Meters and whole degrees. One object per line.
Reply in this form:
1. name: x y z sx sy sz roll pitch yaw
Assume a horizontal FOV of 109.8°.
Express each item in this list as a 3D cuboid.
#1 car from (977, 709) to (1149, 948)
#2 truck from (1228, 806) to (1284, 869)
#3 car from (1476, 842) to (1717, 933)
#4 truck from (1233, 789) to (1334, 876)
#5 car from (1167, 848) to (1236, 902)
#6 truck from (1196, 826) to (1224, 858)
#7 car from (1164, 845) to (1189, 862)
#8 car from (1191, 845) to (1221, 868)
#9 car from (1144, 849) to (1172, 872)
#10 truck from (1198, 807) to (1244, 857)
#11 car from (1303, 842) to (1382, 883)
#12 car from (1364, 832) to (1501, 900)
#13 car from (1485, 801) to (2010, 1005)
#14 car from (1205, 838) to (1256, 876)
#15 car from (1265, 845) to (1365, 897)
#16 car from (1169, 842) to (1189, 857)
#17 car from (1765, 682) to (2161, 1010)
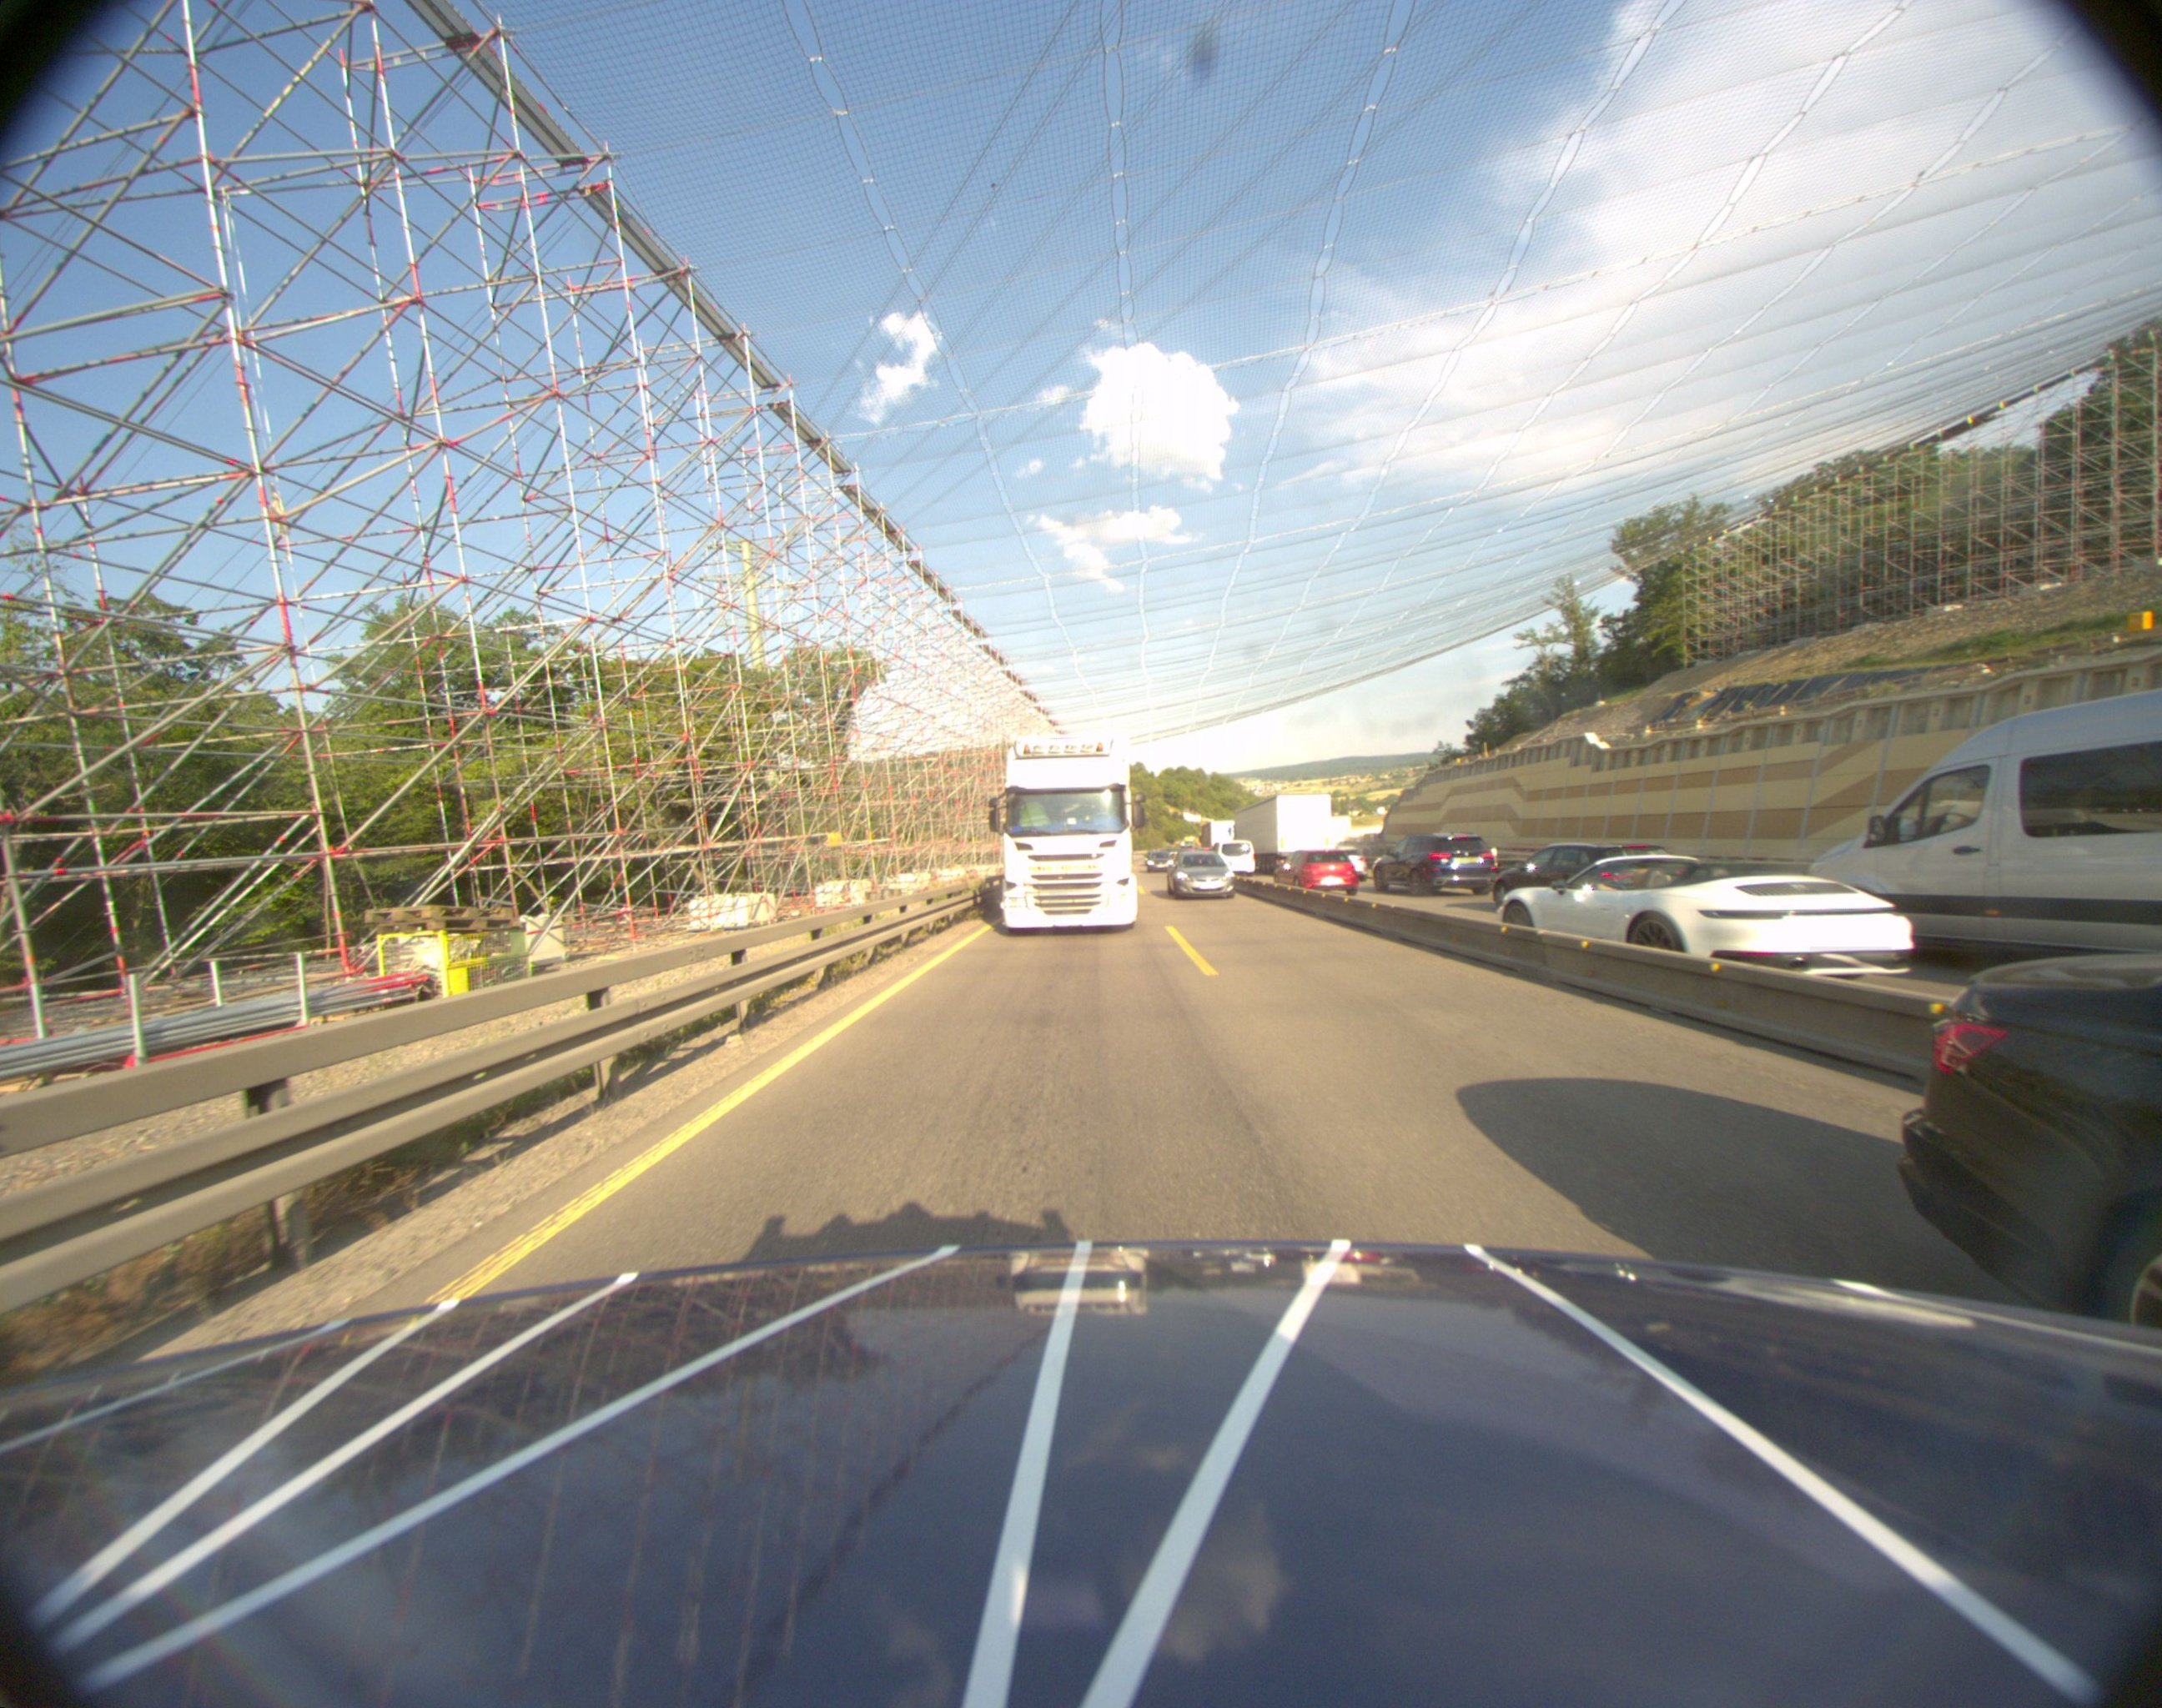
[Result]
1. car: -0.232 -0.499 17.485 2.858 4.092 8.280 -2 1 1
2. truck: 11.672 -1.089 51.138 2.522 3.885 6.049 -2 1 3
3. car: 9.651 0.525 14.728 1.796 1.429 4.381 -2 1 2
4. truck: 11.384 -1.156 44.436 2.728 4.202 14.169 -2 1 3
5. car: 3.698 0.579 23.886 1.759 1.464 4.354 -2 1 5
6. truck: 20.377 -1.885 121.029 2.993 4.532 17.411 -2 1 5
7. car: 8.980 -0.056 71.733 1.939 1.525 4.645 -2 1 3
8. car: 9.235 0.173 56.317 1.586 1.543 4.218 -2 1 2
9. car: 5.224 0.416 51.442 1.764 1.376 3.824 -2 1 7
10. truck: 14.373 -2.200 79.458 2.993 4.532 17.411 -2 1 5
11. car: 11.017 0.306 32.355 1.796 1.531 4.909 -2 1 2
12. car: 10.104 0.289 22.304 1.828 1.717 4.937 -2 1 2
13. car: 6.507 0.367 8.258 1.813 1.559 4.365 -2 1 -1
14. car: 7.937 0.111 40.775 1.812 1.858 5.281 -2 1 2
15. car: 7.166 0.461 23.738 1.812 1.411 4.518 -2 1 2
16. car: 10.701 -0.554 83.356 1.938 1.510 4.979 -2 1 5
17. car: 9.989 -0.101 6.314 2.247 2.697 7.081 -2 1 1
